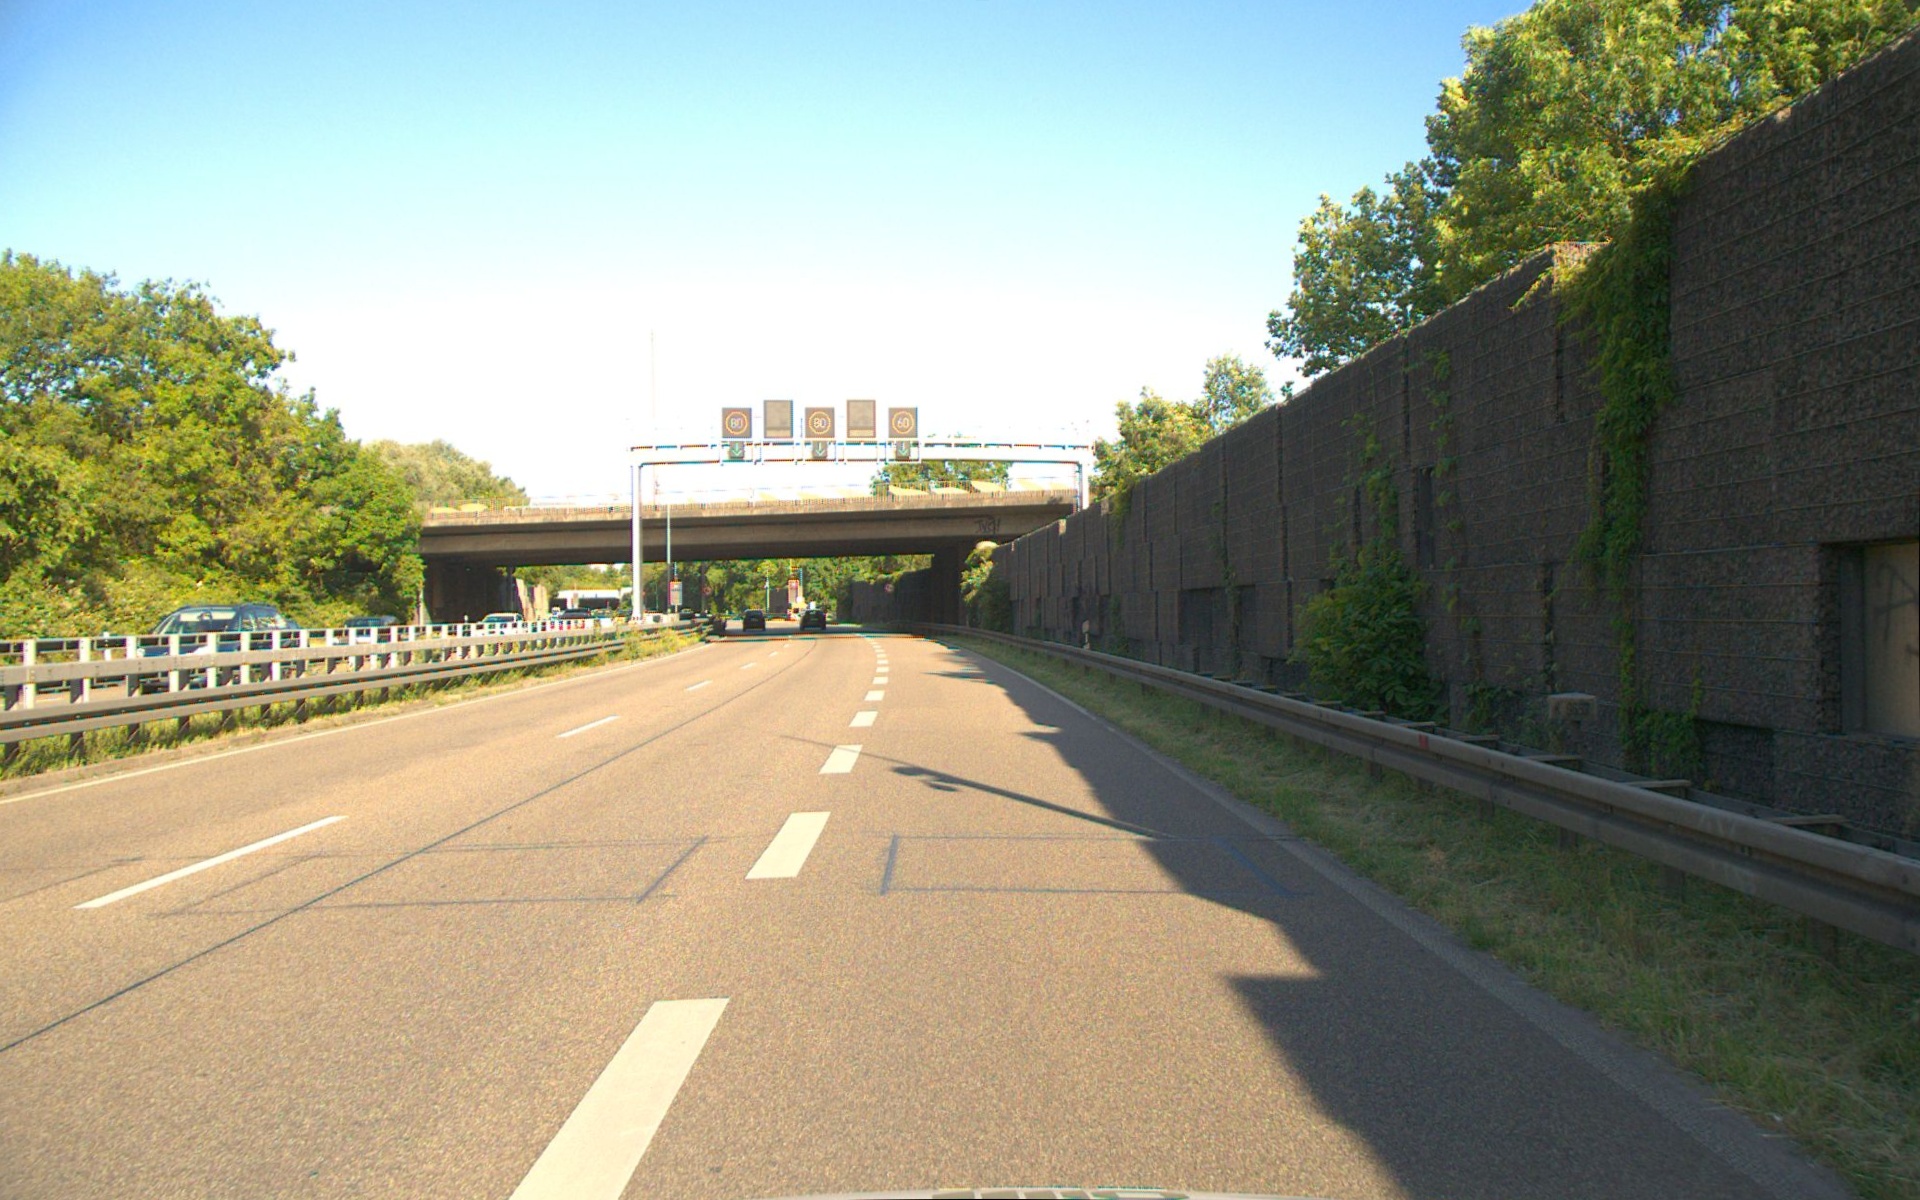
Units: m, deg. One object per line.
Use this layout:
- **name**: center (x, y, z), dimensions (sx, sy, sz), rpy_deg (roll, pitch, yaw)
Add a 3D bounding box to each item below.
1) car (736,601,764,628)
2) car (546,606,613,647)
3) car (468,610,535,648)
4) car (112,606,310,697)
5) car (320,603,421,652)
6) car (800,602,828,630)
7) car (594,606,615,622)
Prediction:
- **car**: center (-15.626, 1.083, 123.028), dimensions (1.955, 1.959, 3.995), rpy_deg (0, 0, -6)
- **car**: center (-16.919, 1.160, 73.794), dimensions (1.954, 1.669, 4.719), rpy_deg (-3, 0, -2)
- **car**: center (-21.232, 1.318, 76.782), dimensions (1.953, 1.669, 4.719), rpy_deg (0, 0, -2)
- **car**: center (-14.851, 0.972, 33.109), dimensions (1.953, 1.669, 4.719), rpy_deg (0, 0, -2)
- **car**: center (-21.093, 0.958, 59.388), dimensions (1.953, 1.669, 5.025), rpy_deg (0, 0, -2)
- **car**: center (-10.450, 1.154, 118.531), dimensions (1.954, 1.959, 3.997), rpy_deg (0, 0, -4)
- **car**: center (-40.741, 1.635, 189.816), dimensions (1.956, 1.735, 4.553), rpy_deg (-2, 0, -7)
